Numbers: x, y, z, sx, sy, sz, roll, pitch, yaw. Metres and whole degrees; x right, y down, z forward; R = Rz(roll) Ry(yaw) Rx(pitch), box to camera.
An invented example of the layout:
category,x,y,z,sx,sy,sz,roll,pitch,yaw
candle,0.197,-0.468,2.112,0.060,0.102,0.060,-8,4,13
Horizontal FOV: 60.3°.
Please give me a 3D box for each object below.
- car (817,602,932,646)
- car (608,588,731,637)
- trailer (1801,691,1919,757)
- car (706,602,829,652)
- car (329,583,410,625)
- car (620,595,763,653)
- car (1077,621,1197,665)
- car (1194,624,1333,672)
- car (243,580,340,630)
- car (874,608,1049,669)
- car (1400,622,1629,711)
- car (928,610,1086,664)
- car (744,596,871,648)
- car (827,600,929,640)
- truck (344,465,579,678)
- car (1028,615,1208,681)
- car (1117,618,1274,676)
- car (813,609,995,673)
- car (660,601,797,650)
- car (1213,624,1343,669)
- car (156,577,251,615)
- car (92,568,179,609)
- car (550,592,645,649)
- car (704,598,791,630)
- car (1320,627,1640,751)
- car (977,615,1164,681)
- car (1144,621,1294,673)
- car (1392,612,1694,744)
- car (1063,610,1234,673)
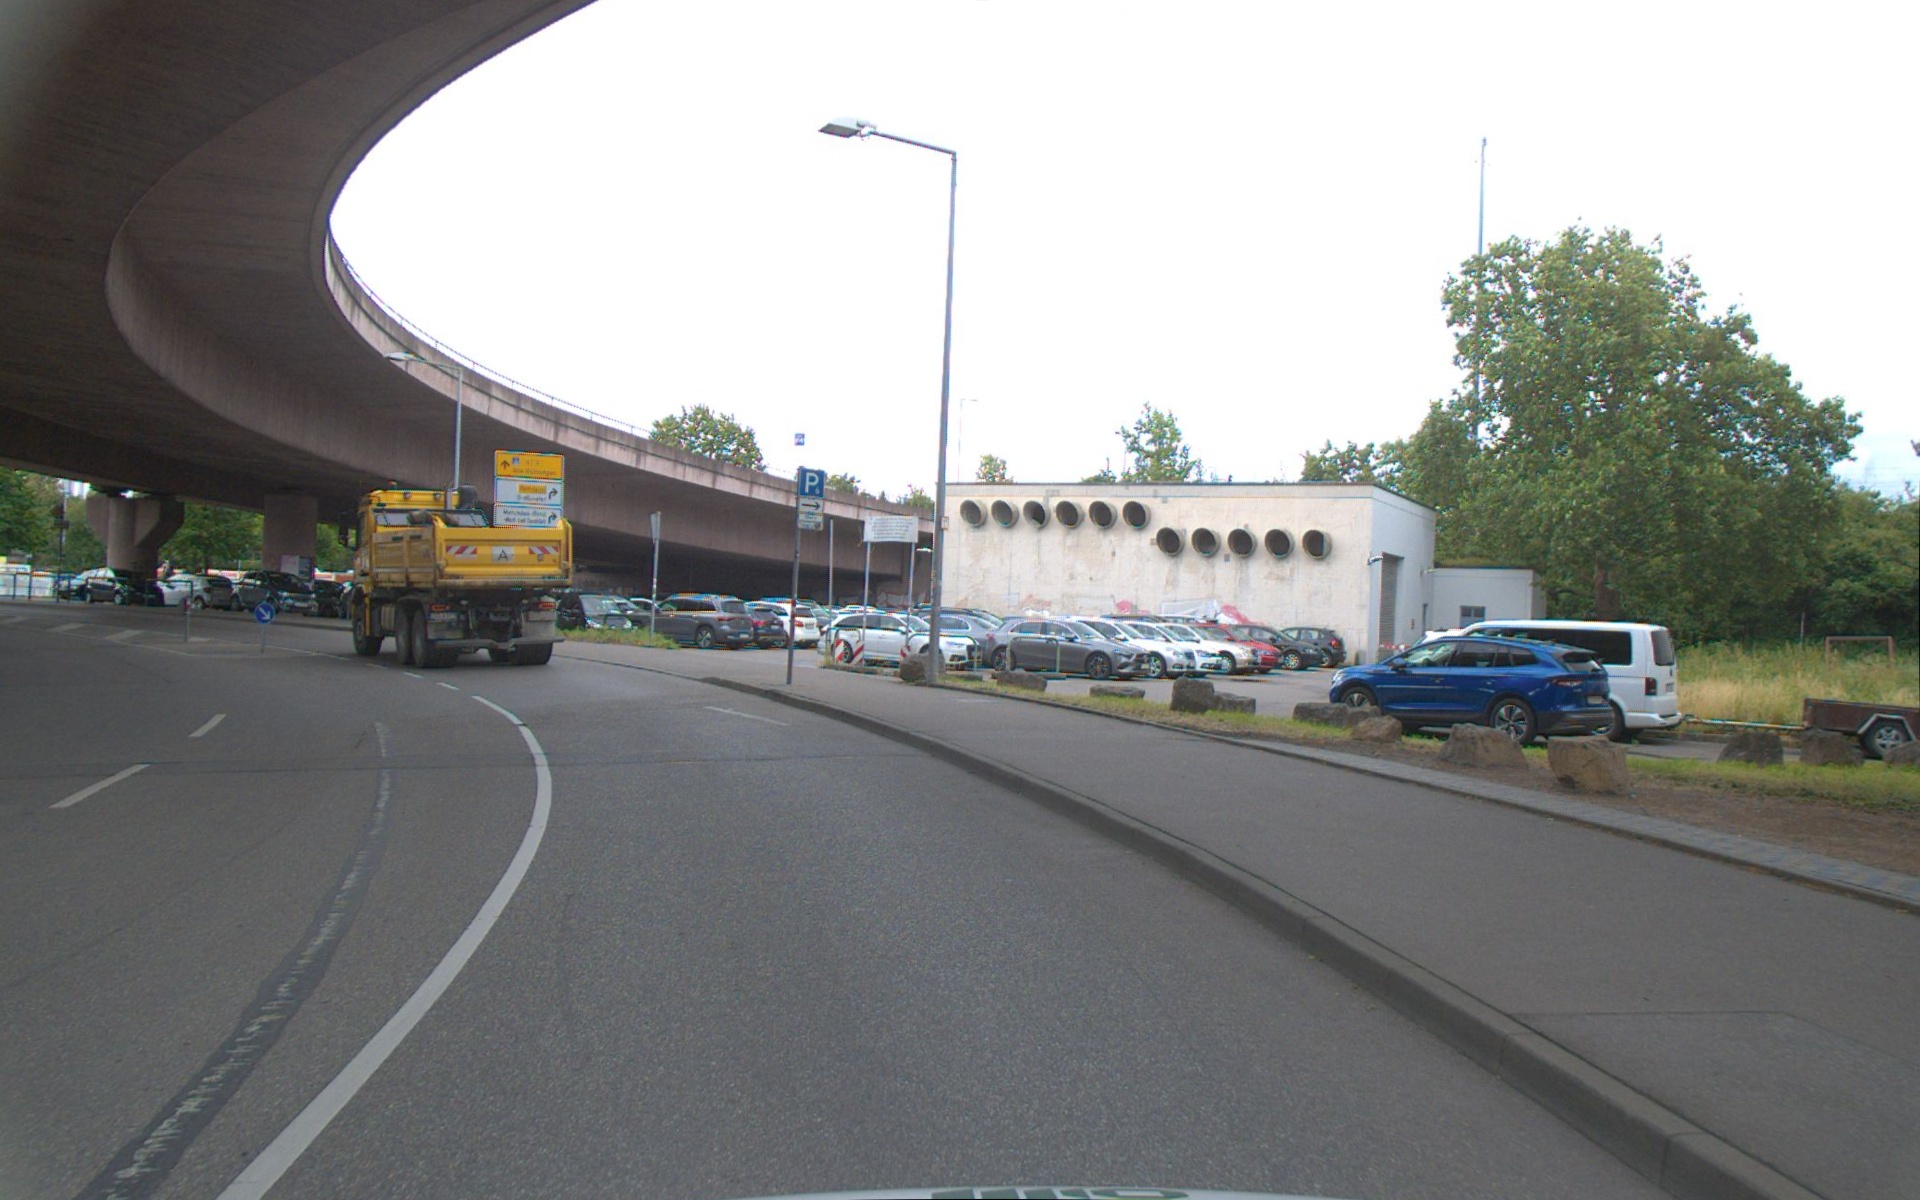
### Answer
category,x,y,z,sx,sy,sz,roll,pitch,yaw
car,-3.352,0.941,64.462,4.165,1.535,1.707,2,0,28
car,-10.586,0.456,60.220,4.098,1.620,1.836,2,0,27
trailer,14.649,1.944,25.995,2.502,0.915,1.482,0,-1,26
car,-6.796,0.937,58.332,3.996,1.584,1.754,2,-1,27
car,-23.097,0.165,64.621,1.774,1.533,3.804,4,-3,-39
car,-8.708,0.757,53.596,4.370,1.704,1.743,2,-1,28
car,6.350,1.530,59.326,3.887,1.417,1.767,2,0,28
car,10.490,1.633,57.283,4.345,1.450,1.835,2,0,30
car,-23.249,0.160,57.526,3.344,1.560,1.604,2,-2,38
car,0.025,1.068,46.536,4.582,1.501,1.856,2,0,28
car,11.570,1.343,34.591,4.265,1.616,1.772,2,0,30
car,1.444,1.129,51.060,4.517,1.469,1.856,2,0,28
car,-5.576,0.810,60.421,4.332,1.721,1.754,2,-1,28
car,-3.614,0.889,73.092,4.098,1.620,1.836,2,0,27
truck,-10.214,-0.559,33.288,2.730,3.763,7.797,-1,1,-31
car,4.219,1.247,44.269,4.403,1.540,1.835,2,0,30
car,7.217,1.420,50.763,4.403,1.540,1.835,2,0,30
car,-1.522,1.077,44.410,4.585,1.501,1.854,2,0,30
car,-7.845,0.855,55.913,4.359,1.474,1.754,2,0,28
car,11.726,1.691,60.998,4.345,1.450,1.835,2,0,30
car,-33.580,-0.182,73.427,3.918,1.579,1.638,2,-1,24
car,-32.020,-0.437,64.173,3.510,1.422,1.604,2,-2,38
car,-10.202,0.572,46.432,1.529,1.505,2.722,2,-1,-39
car,-11.002,0.737,85.531,4.098,1.491,1.836,2,0,27
car,8.206,1.338,26.427,1.762,1.663,4.611,2,0,-43
car,2.790,1.191,41.935,4.345,1.450,1.835,2,0,30
car,8.272,1.496,52.940,4.345,1.450,1.835,2,0,30
car,10.061,1.278,28.694,4.588,1.991,1.886,2,0,37
car,5.312,1.154,46.689,4.403,1.540,1.835,2,0,30
